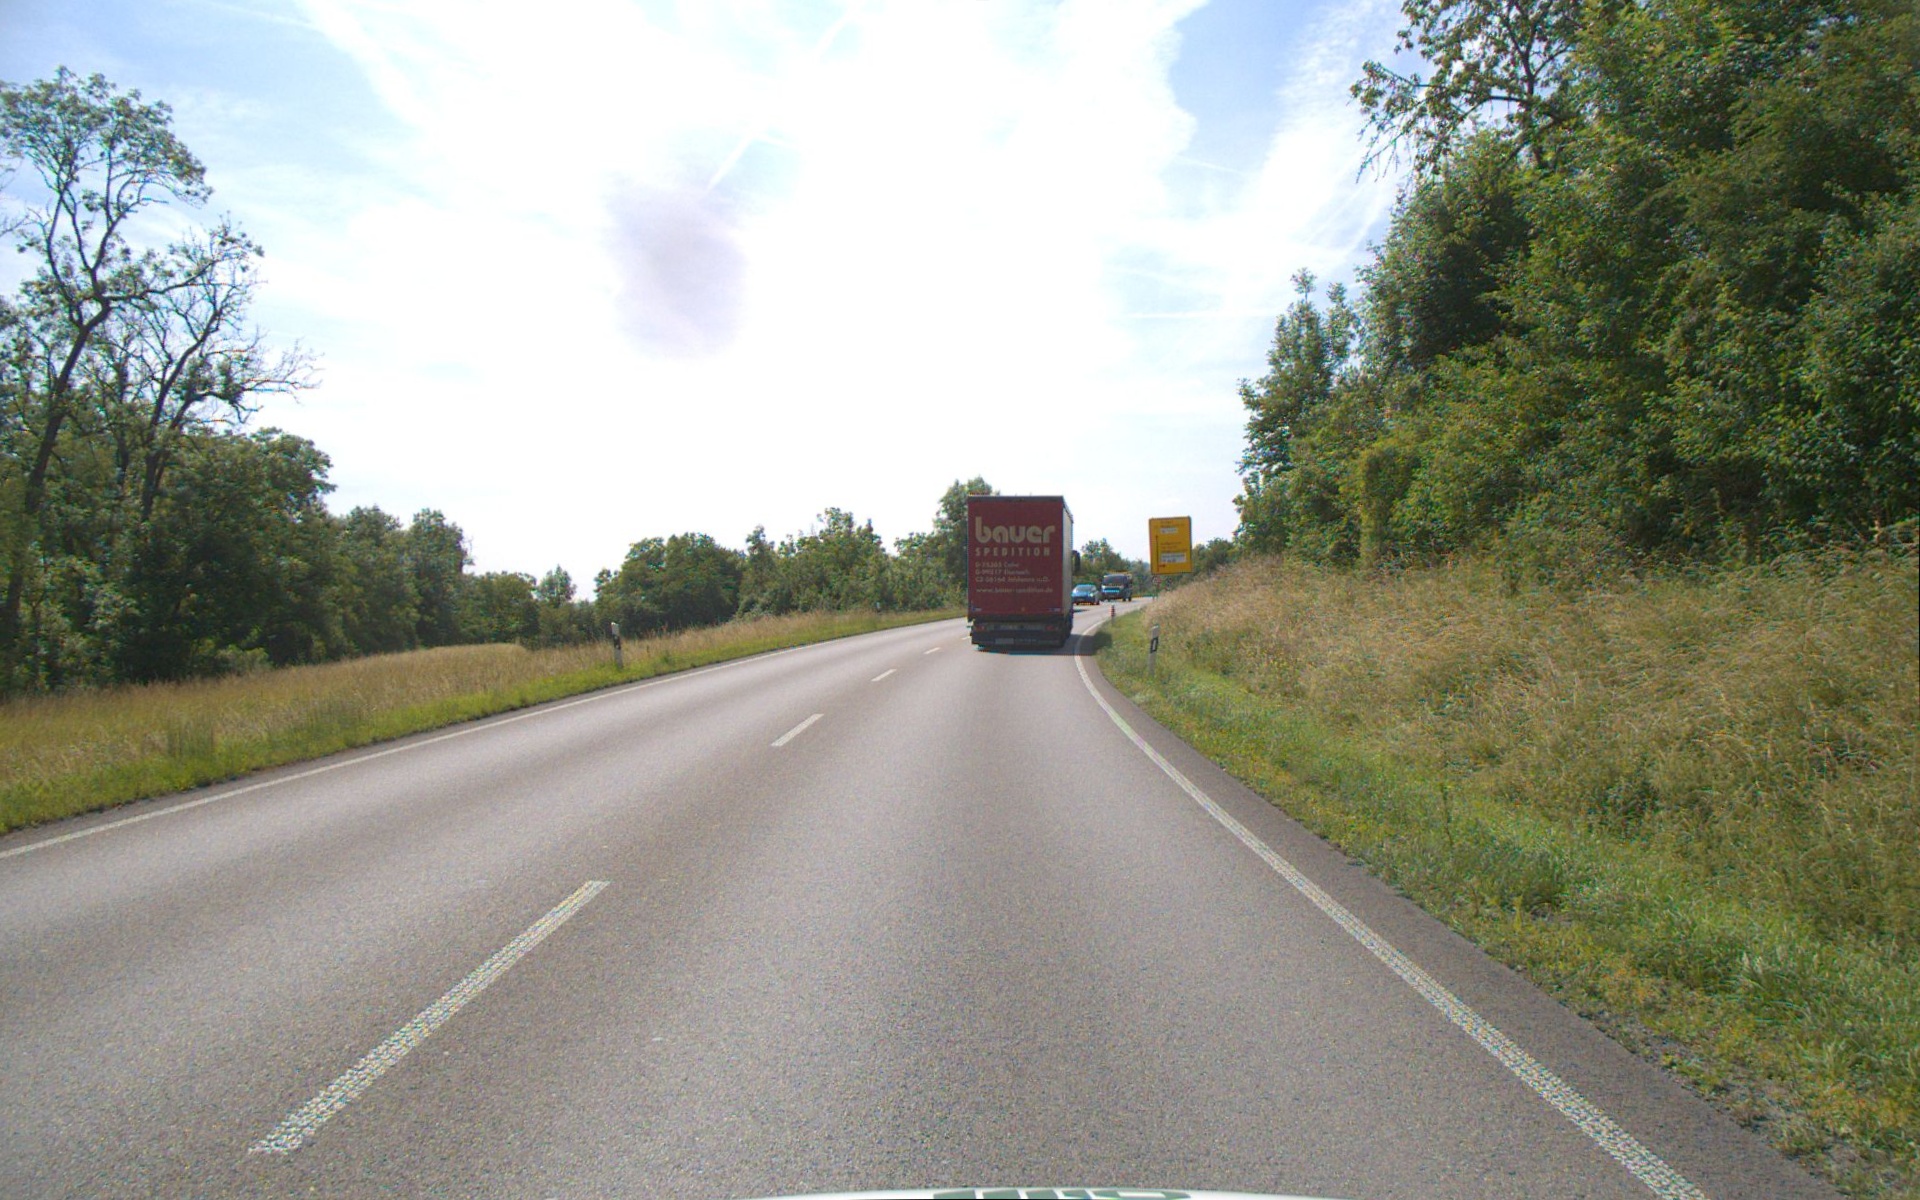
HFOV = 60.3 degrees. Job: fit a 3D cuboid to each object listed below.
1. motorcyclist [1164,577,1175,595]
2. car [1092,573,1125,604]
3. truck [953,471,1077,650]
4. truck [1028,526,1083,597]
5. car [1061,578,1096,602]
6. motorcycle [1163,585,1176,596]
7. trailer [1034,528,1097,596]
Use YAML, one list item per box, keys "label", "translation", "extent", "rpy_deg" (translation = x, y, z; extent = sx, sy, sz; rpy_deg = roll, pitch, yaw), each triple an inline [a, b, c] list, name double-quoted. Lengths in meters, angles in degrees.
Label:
- label: "motorcyclist"
  translation: [21.116, -1.422, 166.842]
  extent: [0.899, 1.748, 0.963]
  rpy_deg: [-1, 0, 19]
- label: "car"
  translation: [12.312, -0.980, 136.792]
  extent: [2.124, 2.343, 4.911]
  rpy_deg: [-4, 0, 11]
- label: "truck"
  translation: [1.831, -1.090, 48.551]
  extent: [3.046, 4.584, 12.175]
  rpy_deg: [0, 1, 5]
- label: "truck"
  translation: [5.797, -2.294, 99.699]
  extent: [2.747, 4.138, 5.990]
  rpy_deg: [-1, 1, 8]
- label: "car"
  translation: [8.807, -0.751, 122.438]
  extent: [1.823, 1.511, 4.363]
  rpy_deg: [-4, 0, 13]
- label: "motorcycle"
  translation: [21.093, -0.935, 166.818]
  extent: [0.742, 1.010, 2.280]
  rpy_deg: [8, 4, 19]
- label: "trailer"
  translation: [6.981, -2.349, 107.586]
  extent: [2.933, 4.114, 12.928]
  rpy_deg: [0, 0, 9]
